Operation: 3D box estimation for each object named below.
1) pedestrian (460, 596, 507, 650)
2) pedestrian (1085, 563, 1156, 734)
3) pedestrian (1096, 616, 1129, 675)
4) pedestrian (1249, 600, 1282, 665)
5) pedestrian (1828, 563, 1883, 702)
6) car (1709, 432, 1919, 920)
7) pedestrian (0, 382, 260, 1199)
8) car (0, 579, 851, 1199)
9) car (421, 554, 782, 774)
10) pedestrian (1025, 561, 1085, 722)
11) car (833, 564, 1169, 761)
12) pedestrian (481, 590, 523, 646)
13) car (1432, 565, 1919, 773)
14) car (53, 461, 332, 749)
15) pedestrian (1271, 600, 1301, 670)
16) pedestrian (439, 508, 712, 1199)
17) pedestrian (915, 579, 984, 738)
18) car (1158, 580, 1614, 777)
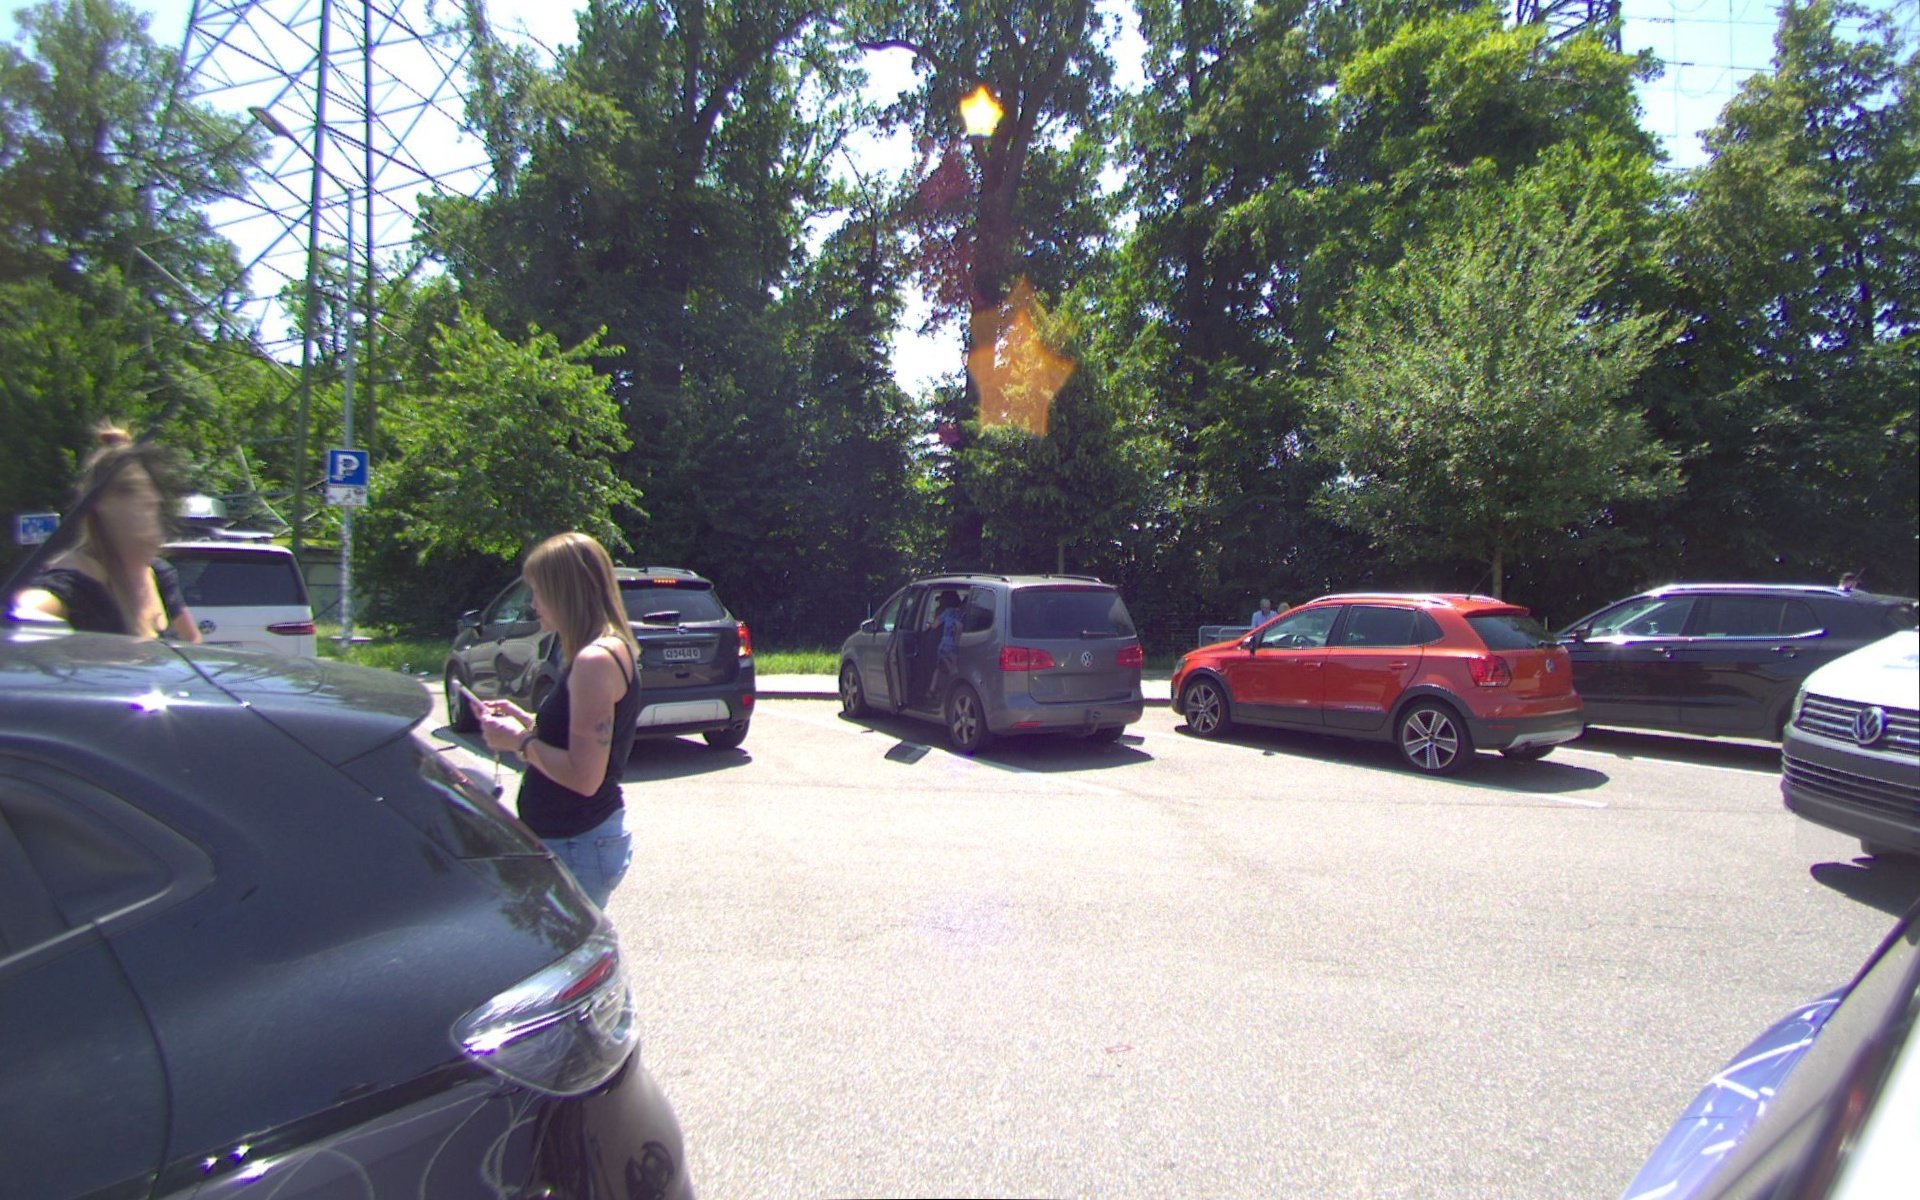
[{"bbox_3d":[-10.771,0.504,22.893,0.785,1.178,0.696,0,0,39],"label":"pedestrian"},{"bbox_3d":[1.687,0.495,10.667,0.576,1.744,0.483,0,0,-20],"label":"pedestrian"},{"bbox_3d":[2.375,0.700,15.772,0.494,0.890,0.512,0,0,10],"label":"pedestrian"},{"bbox_3d":[5.759,0.601,19.091,0.433,1.207,0.414,0,0,-30],"label":"pedestrian"},{"bbox_3d":[13.081,0.459,14.790,0.570,1.979,0.425,0,-1,38],"label":"pedestrian"},{"bbox_3d":[6.884,0.359,4.636,5.336,2.131,1.842,1,1,4],"label":"car"},{"bbox_3d":[-1.957,0.529,2.356,0.478,1.883,0.913,1,-1,-33],"label":"pedestrian"},{"bbox_3d":[-2.046,0.728,0.807,1.776,1.476,3.627,0,0,44],"label":"car"},{"bbox_3d":[-3.605,0.471,9.720,1.807,1.637,4.159,1,0,-42],"label":"car"},{"bbox_3d":[1.058,0.448,11.312,0.500,1.744,0.438,0,0,-24],"label":"pedestrian"},{"bbox_3d":[0.221,0.507,10.551,1.670,1.637,3.912,0,0,-30],"label":"car"},{"bbox_3d":[-11.140,0.430,24.619,0.539,1.318,0.758,0,0,37],"label":"pedestrian"},{"bbox_3d":[6.970,0.542,9.973,1.679,1.637,3.863,1,0,-40],"label":"car"},{"bbox_3d":[-8.432,0.034,10.907,1.897,2.400,4.963,1,-1,-43],"label":"car"},{"bbox_3d":[5.758,0.612,17.887,0.348,1.207,0.367,0,0,-20],"label":"pedestrian"},{"bbox_3d":[-0.983,0.604,2.586,0.477,1.614,0.502,1,-1,-44],"label":"pedestrian"},{"bbox_3d":[-0.109,0.552,9.980,0.510,1.516,0.561,0,0,-21],"label":"pedestrian"},{"bbox_3d":[3.815,0.589,9.643,1.588,1.485,3.751,1,0,-34],"label":"car"}]
